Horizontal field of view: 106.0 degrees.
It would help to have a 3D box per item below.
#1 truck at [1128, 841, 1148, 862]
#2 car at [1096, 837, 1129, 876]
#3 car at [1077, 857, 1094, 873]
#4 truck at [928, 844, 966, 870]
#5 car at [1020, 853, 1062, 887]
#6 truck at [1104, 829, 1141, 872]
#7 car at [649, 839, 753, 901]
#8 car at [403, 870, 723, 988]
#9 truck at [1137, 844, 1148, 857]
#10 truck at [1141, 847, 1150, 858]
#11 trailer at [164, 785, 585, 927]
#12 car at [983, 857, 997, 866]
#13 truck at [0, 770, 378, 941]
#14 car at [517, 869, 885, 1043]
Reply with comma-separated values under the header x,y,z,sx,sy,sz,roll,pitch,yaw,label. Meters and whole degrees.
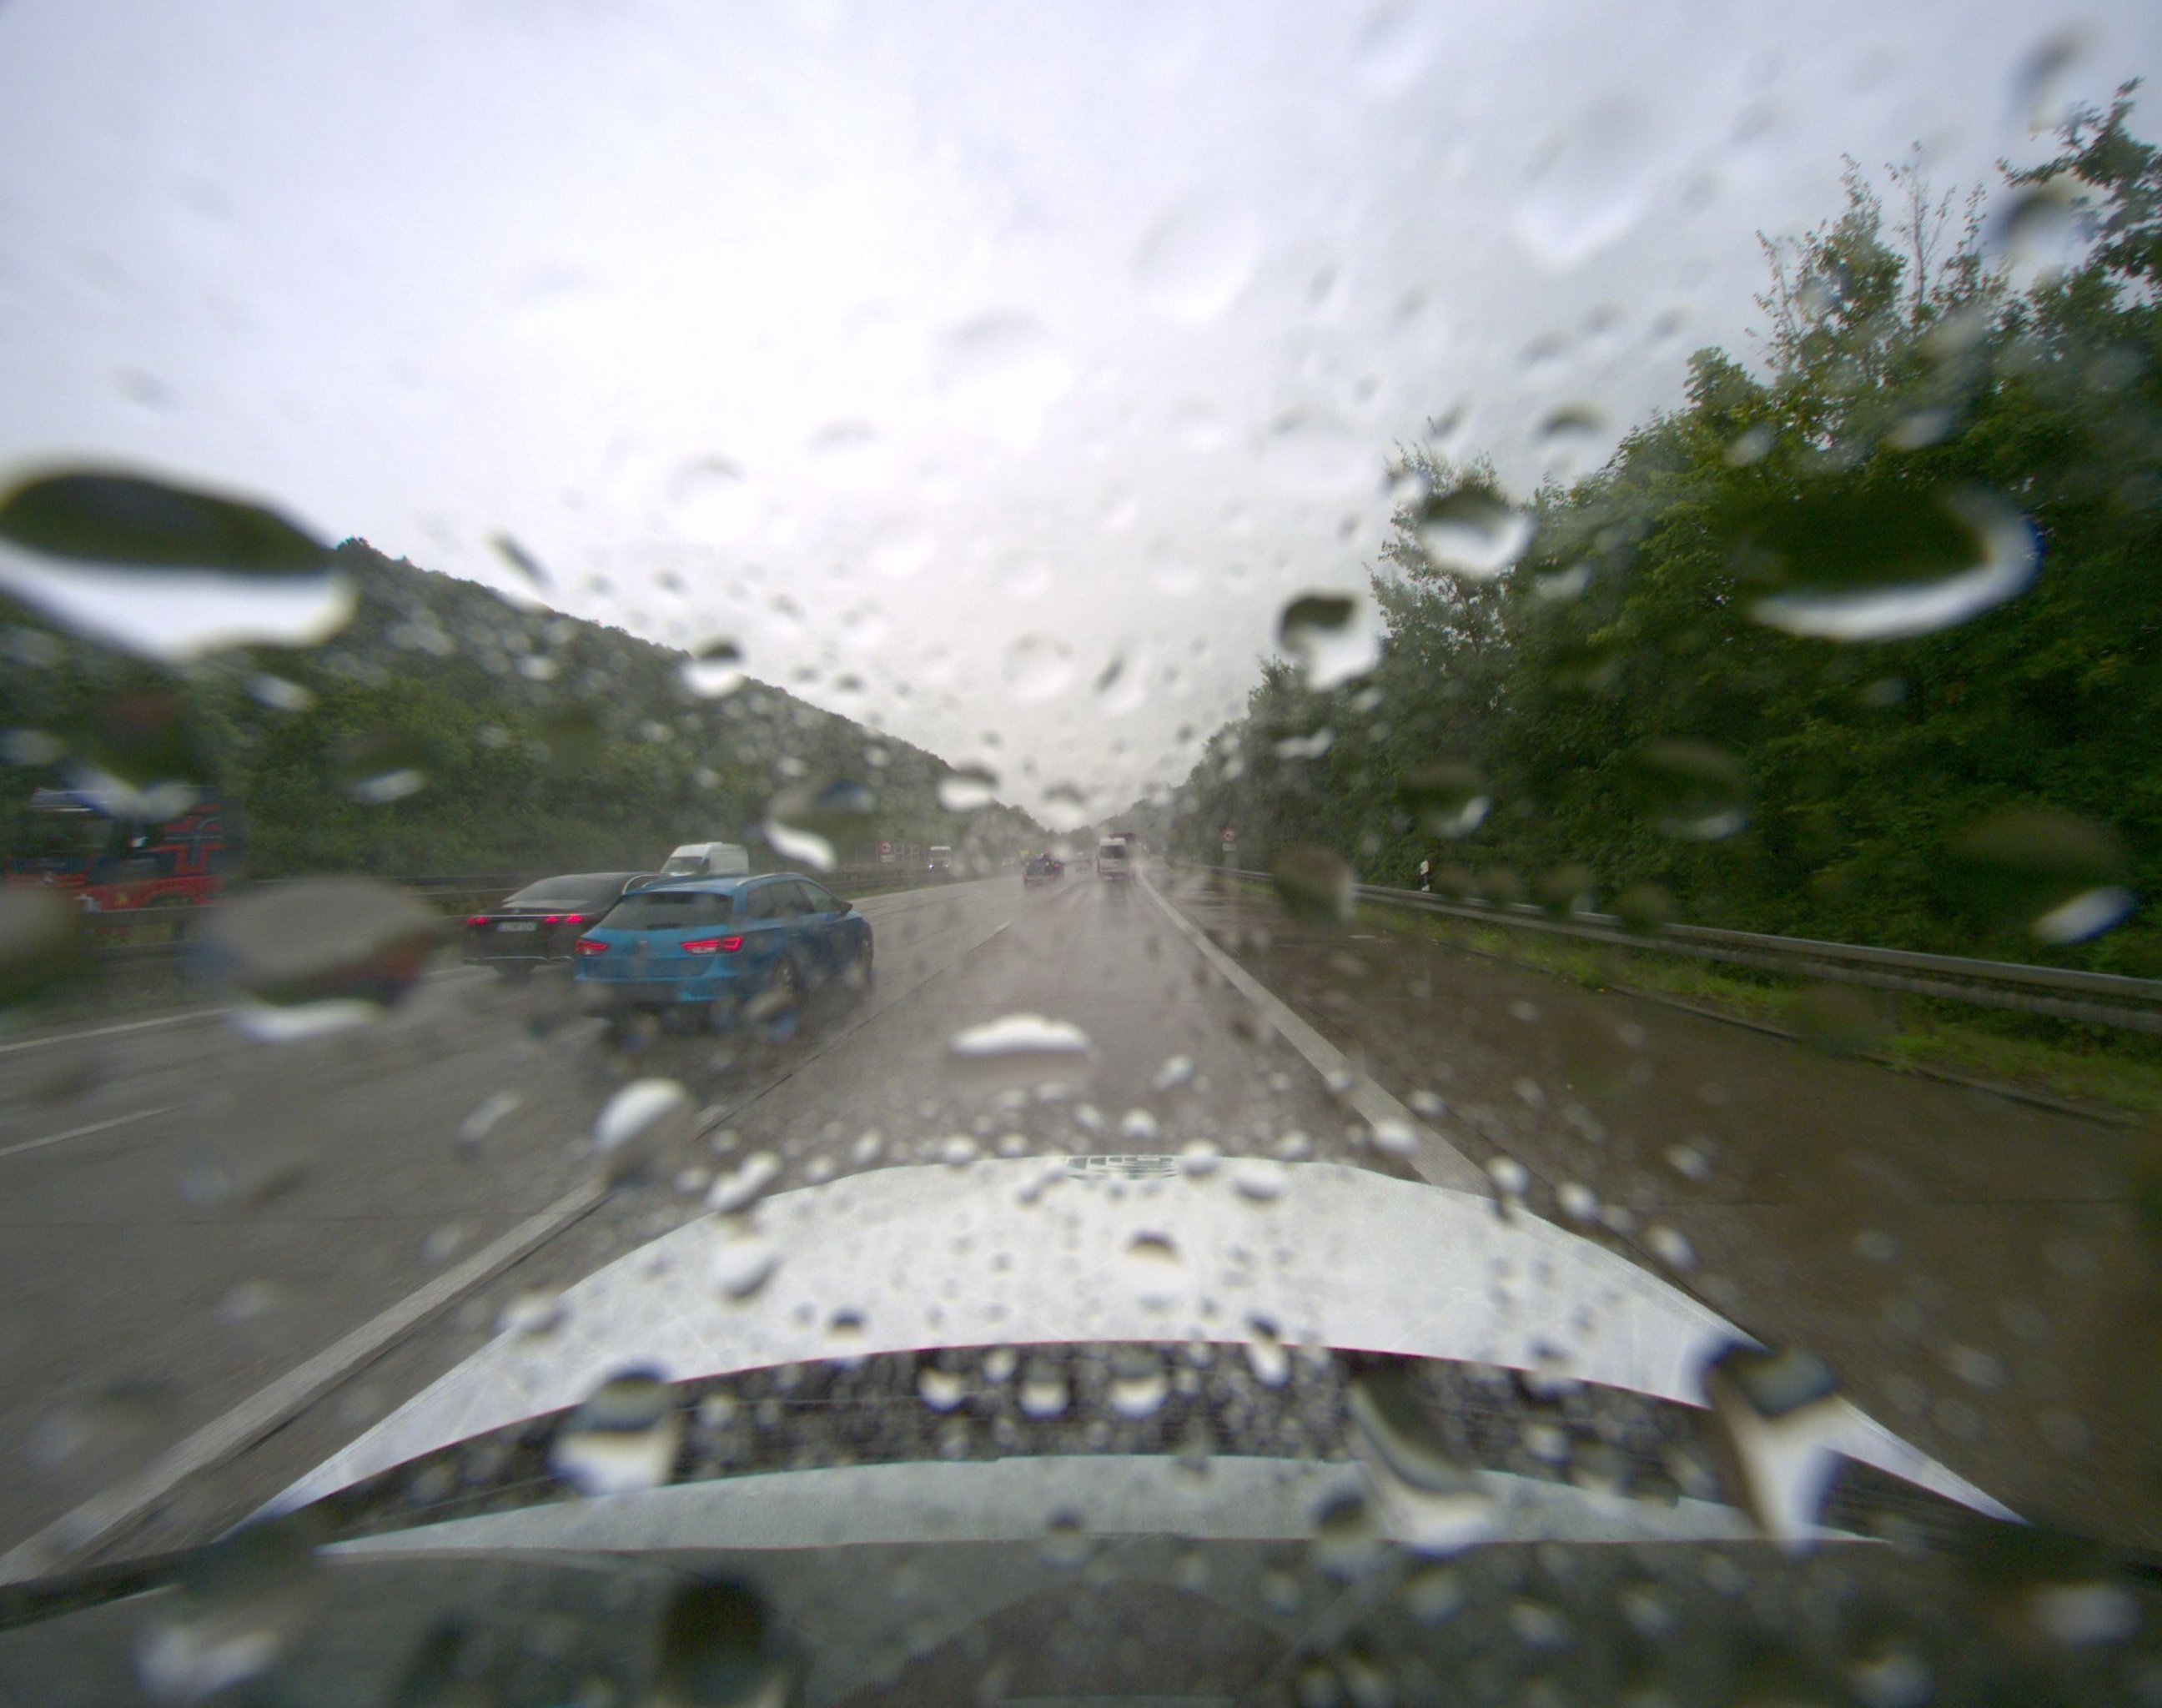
x,y,z,sx,sy,sz,roll,pitch,yaw,label
10.493,-0.411,150.316,3.074,3.910,9.073,0,-1,8,truck
2.054,0.159,51.690,1.891,2.334,5.256,-1,0,4,car
0.495,1.173,88.079,1.607,1.628,4.193,-1,0,4,car
-17.960,0.340,110.261,2.763,3.315,11.521,-1,0,2,truck
-2.208,0.861,46.216,1.860,1.810,4.193,-1,0,4,car
4.234,-0.471,84.990,3.373,3.967,8.670,-4,1,1,truck
-19.293,0.753,41.771,2.080,2.900,6.536,-1,0,2,car
-7.260,0.955,12.086,1.849,1.339,4.353,-1,0,2,car
14.370,-0.718,190.194,2.574,2.981,9.034,-1,0,4,truck
18.008,-0.434,227.897,2.574,2.981,9.034,-1,0,4,truck
-23.371,0.075,28.842,3.123,3.856,12.880,-1,0,3,trailer
-17.552,1.419,157.446,1.986,1.662,4.002,-2,0,2,car
-23.740,0.045,22.077,3.123,3.856,6.891,-1,0,3,truck
-3.660,0.880,8.896,1.849,1.339,4.353,-1,0,2,car
